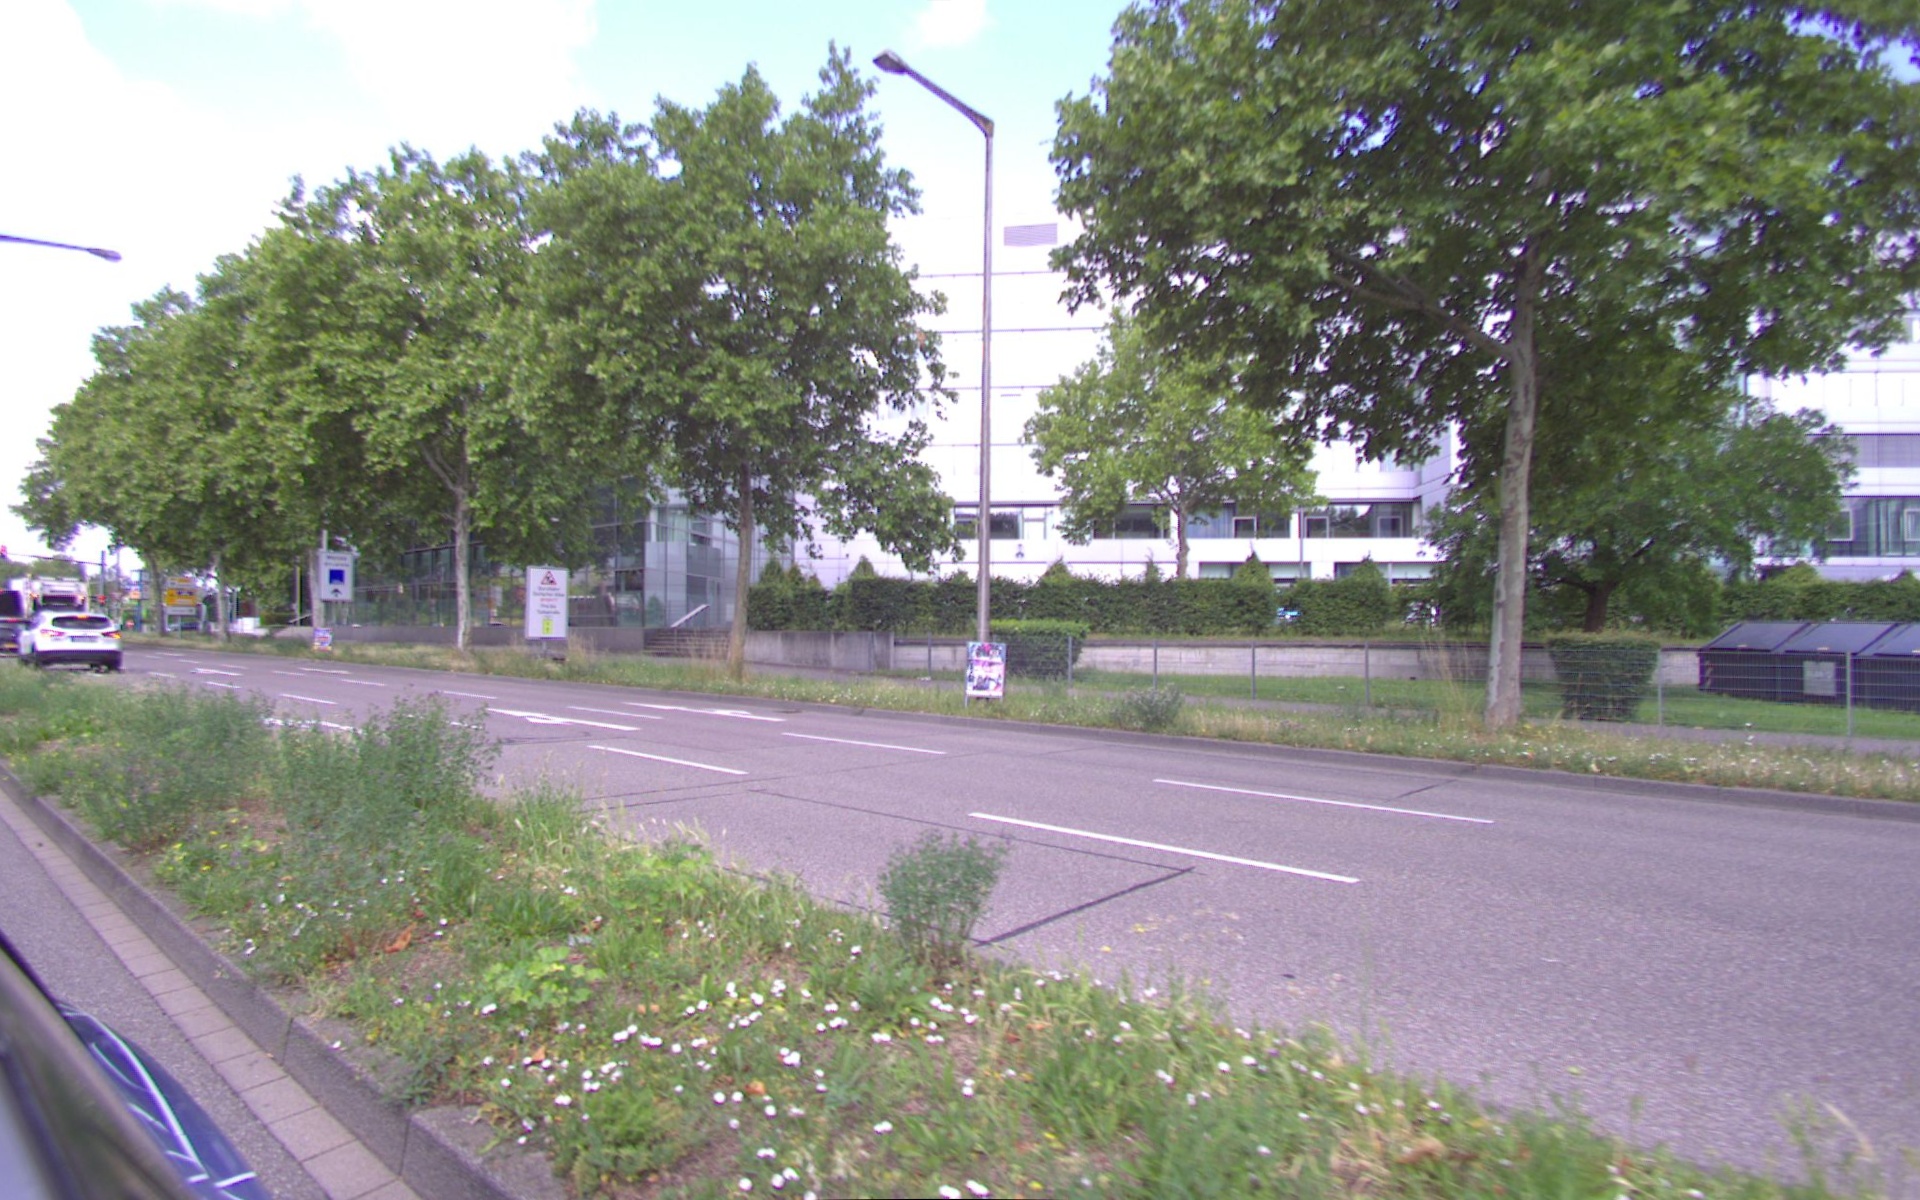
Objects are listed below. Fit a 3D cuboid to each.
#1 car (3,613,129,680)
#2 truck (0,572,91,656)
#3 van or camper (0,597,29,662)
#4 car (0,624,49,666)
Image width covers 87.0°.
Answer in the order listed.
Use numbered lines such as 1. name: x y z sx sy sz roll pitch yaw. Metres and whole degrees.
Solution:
1. car: -23.977 1.253 27.105 4.347 1.652 1.796 -2 -4 39
2. truck: -47.334 0.781 52.039 10.158 3.917 2.621 -1 -4 42
3. van or camper: -42.177 1.254 43.570 6.711 2.680 2.083 -1 -3 39
4. car: -35.111 1.613 37.301 3.937 1.475 1.677 -1 -3 40
